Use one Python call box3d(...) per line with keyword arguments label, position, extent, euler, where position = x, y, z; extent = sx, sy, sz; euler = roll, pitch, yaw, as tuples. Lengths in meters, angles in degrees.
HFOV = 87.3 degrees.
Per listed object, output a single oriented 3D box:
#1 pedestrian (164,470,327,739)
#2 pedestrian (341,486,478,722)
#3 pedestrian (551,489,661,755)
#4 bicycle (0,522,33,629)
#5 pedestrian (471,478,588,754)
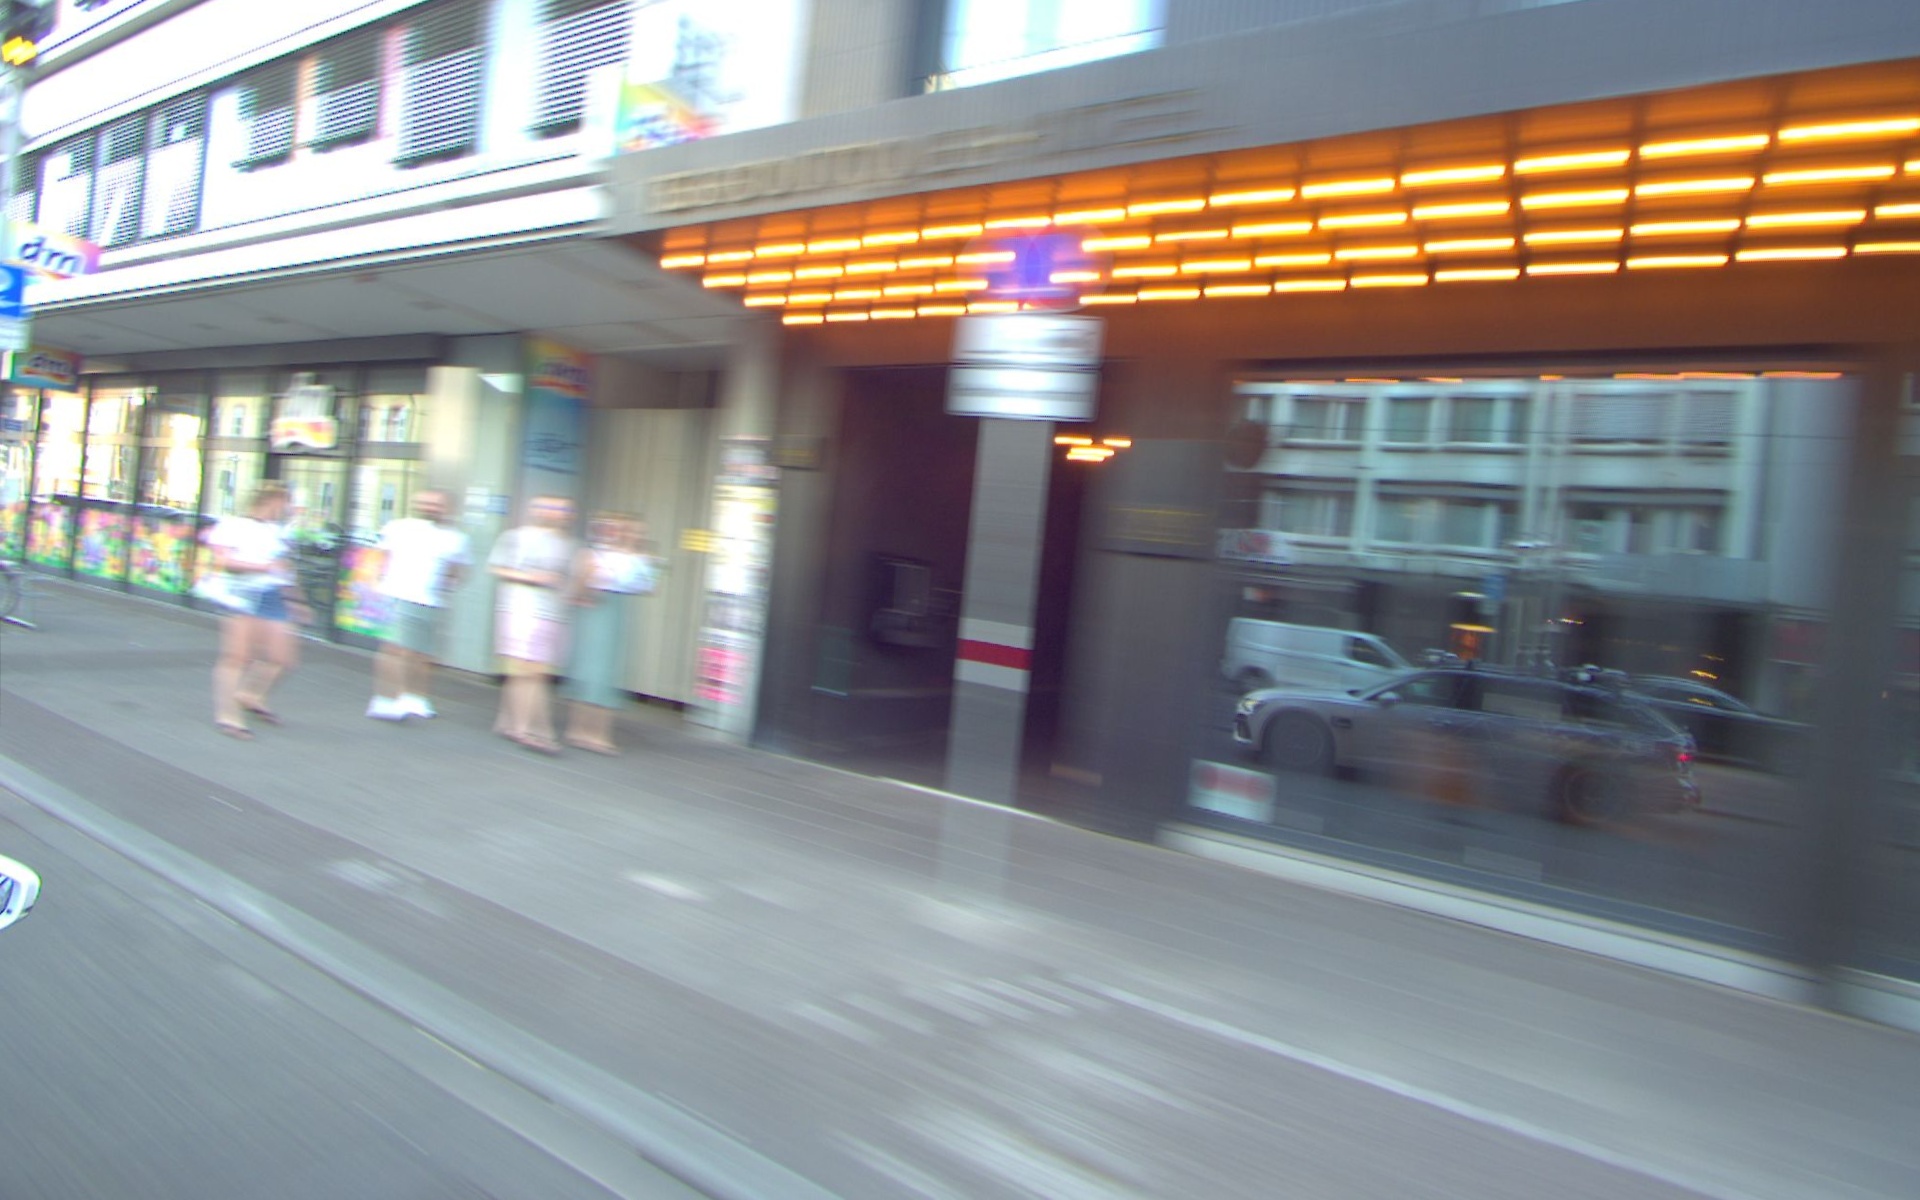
box3d(label="pedestrian", position=(-4.962, 0.030, 6.994), extent=(0.635, 1.749, 0.604), euler=(7, 1, 31))
box3d(label="pedestrian", position=(-4.402, 0.033, 8.049), extent=(0.595, 1.775, 0.609), euler=(7, 1, 31))
box3d(label="pedestrian", position=(-2.669, 0.162, 7.586), extent=(0.414, 1.923, 0.452), euler=(7, 2, 31))
box3d(label="bicycle", position=(-10.572, -0.288, 9.978), extent=(0.665, 1.091, 1.887), euler=(7, 2, 29))
box3d(label="pedestrian", position=(-3.123, 0.114, 7.306), extent=(0.414, 1.923, 0.455), euler=(7, 2, 31))
